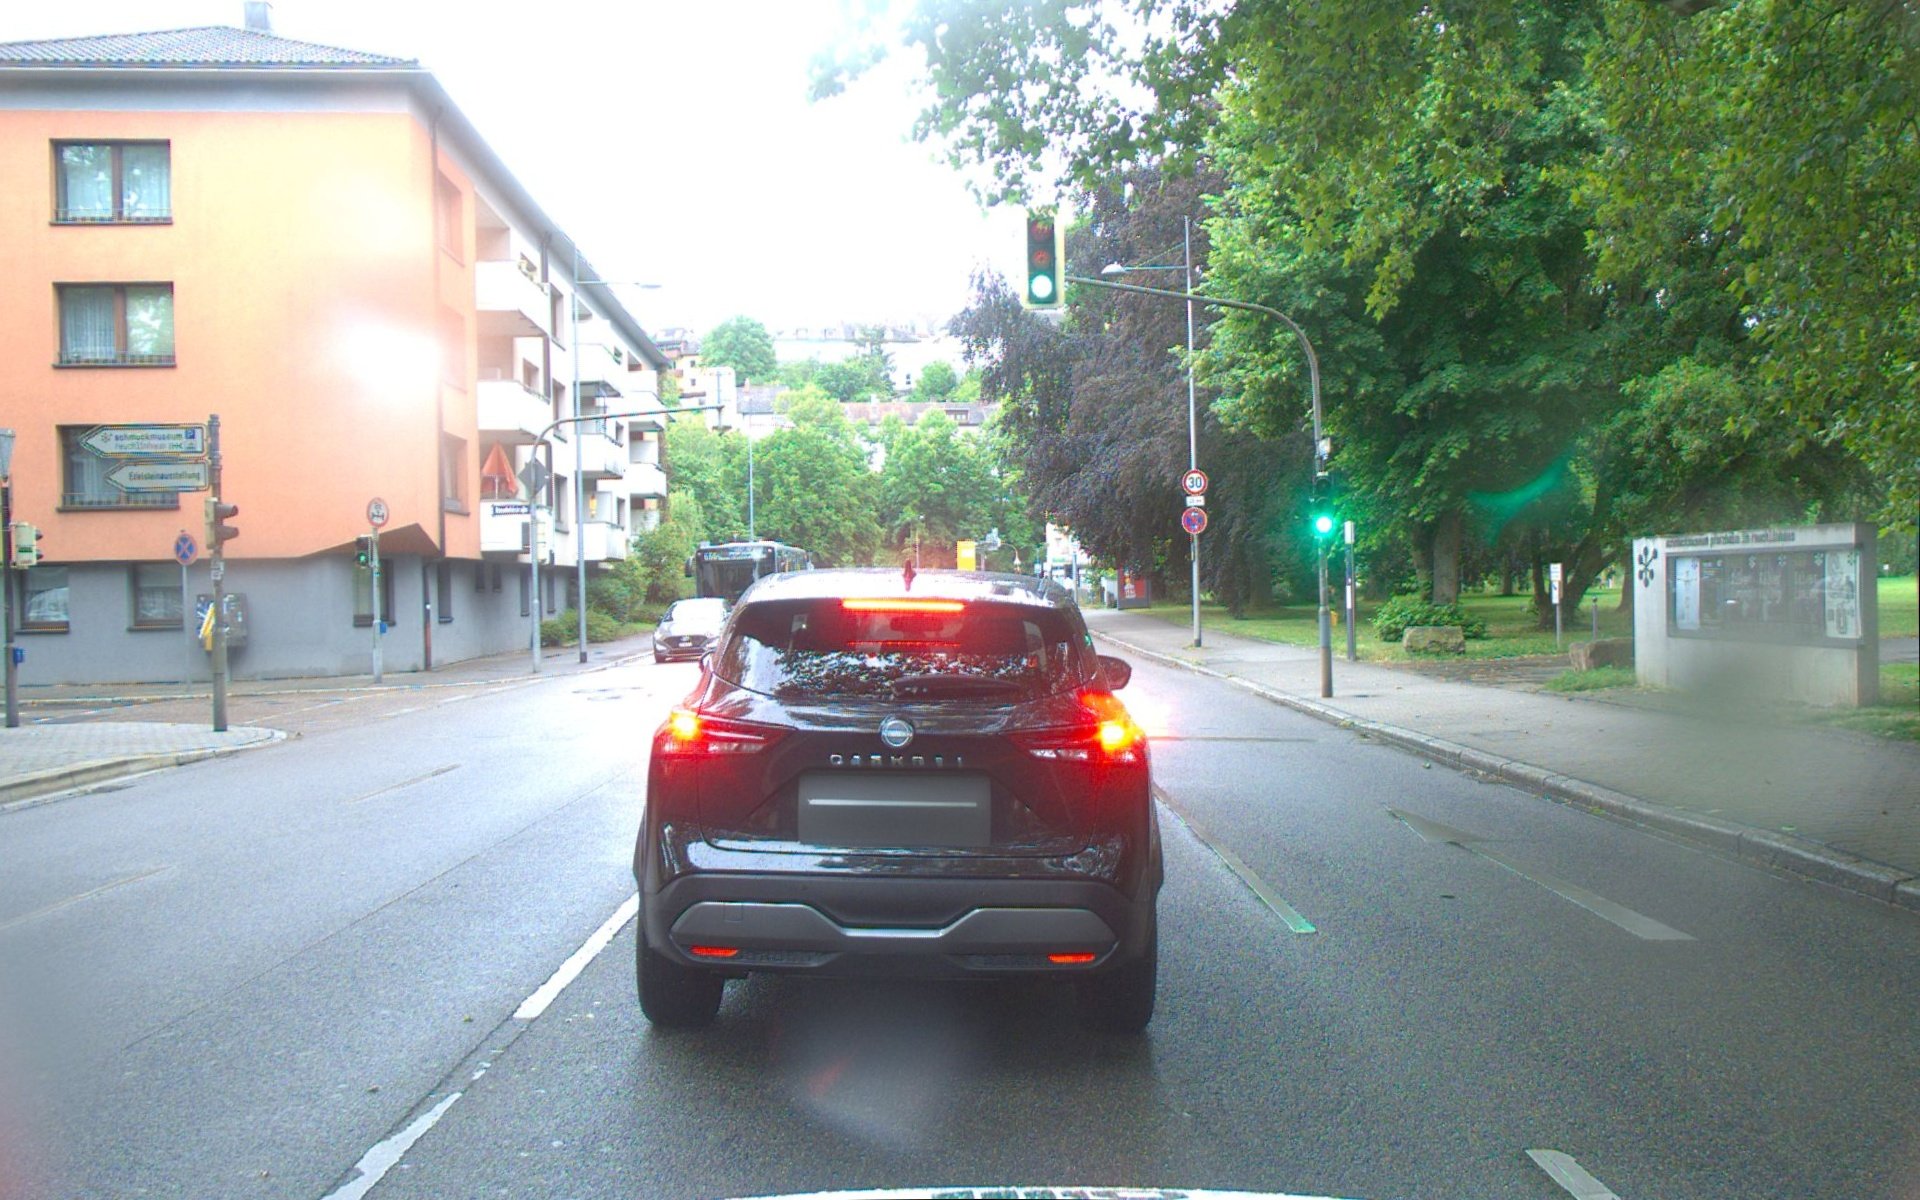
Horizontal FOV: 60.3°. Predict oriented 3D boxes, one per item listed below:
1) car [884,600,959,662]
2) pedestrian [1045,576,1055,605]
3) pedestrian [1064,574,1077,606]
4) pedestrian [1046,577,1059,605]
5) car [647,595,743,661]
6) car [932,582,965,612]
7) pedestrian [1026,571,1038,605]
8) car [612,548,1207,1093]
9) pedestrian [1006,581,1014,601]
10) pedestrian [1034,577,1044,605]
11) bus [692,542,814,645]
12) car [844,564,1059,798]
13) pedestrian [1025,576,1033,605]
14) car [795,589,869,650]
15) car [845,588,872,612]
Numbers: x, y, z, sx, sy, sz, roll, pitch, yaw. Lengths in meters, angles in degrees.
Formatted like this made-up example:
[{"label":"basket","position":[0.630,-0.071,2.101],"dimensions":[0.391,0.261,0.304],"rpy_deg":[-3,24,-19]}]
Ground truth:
[{"label":"car","position":[-0.967,0.732,41.048],"dimensions":[1.772,1.442,4.029],"rpy_deg":[0,0,-2]},{"label":"pedestrian","position":[5.248,-0.571,96.612],"dimensions":[0.504,1.684,0.550],"rpy_deg":[1,-1,-1]},{"label":"pedestrian","position":[6.434,-0.588,96.461],"dimensions":[0.606,1.810,0.778],"rpy_deg":[-2,0,-1]},{"label":"pedestrian","position":[5.498,-0.529,98.394],"dimensions":[0.685,1.680,0.628],"rpy_deg":[1,-1,0]},{"label":"car","position":[-6.496,0.644,40.907],"dimensions":[1.772,1.441,4.029],"rpy_deg":[-3,1,-2]},{"label":"car","position":[-0.570,-0.152,83.145],"dimensions":[1.591,1.439,3.454],"rpy_deg":[-2,0,0]},{"label":"pedestrian","position":[4.721,-0.770,109.071],"dimensions":[0.752,2.222,0.711],"rpy_deg":[1,-1,2]},{"label":"car","position":[-0.177,0.676,6.990],"dimensions":[1.769,1.618,3.999],"rpy_deg":[1,0,-1]},{"label":"pedestrian","position":[5.251,-0.929,174.027],"dimensions":[0.684,2.049,0.582],"rpy_deg":[-2,0,-1]},{"label":"pedestrian","position":[4.703,-0.542,98.529],"dimensions":[0.533,1.680,0.490],"rpy_deg":[1,-1,0]},{"label":"bus","position":[-6.734,-0.216,55.516],"dimensions":[2.710,3.026,11.779],"rpy_deg":[-1,0,-1]},{"label":"car","position":[-0.039,0.607,14.587],"dimensions":[1.588,1.738,3.771],"rpy_deg":[-2,0,1]},{"label":"pedestrian","position":[4.100,-0.554,98.304],"dimensions":[0.465,1.680,0.490],"rpy_deg":[1,-1,0]},{"label":"car","position":[-3.214,0.471,42.141],"dimensions":[1.591,1.439,3.454],"rpy_deg":[-2,0,0]},{"label":"car","position":[-7.437,-0.037,121.750],"dimensions":[1.714,1.662,3.634],"rpy_deg":[-2,1,0]}]
